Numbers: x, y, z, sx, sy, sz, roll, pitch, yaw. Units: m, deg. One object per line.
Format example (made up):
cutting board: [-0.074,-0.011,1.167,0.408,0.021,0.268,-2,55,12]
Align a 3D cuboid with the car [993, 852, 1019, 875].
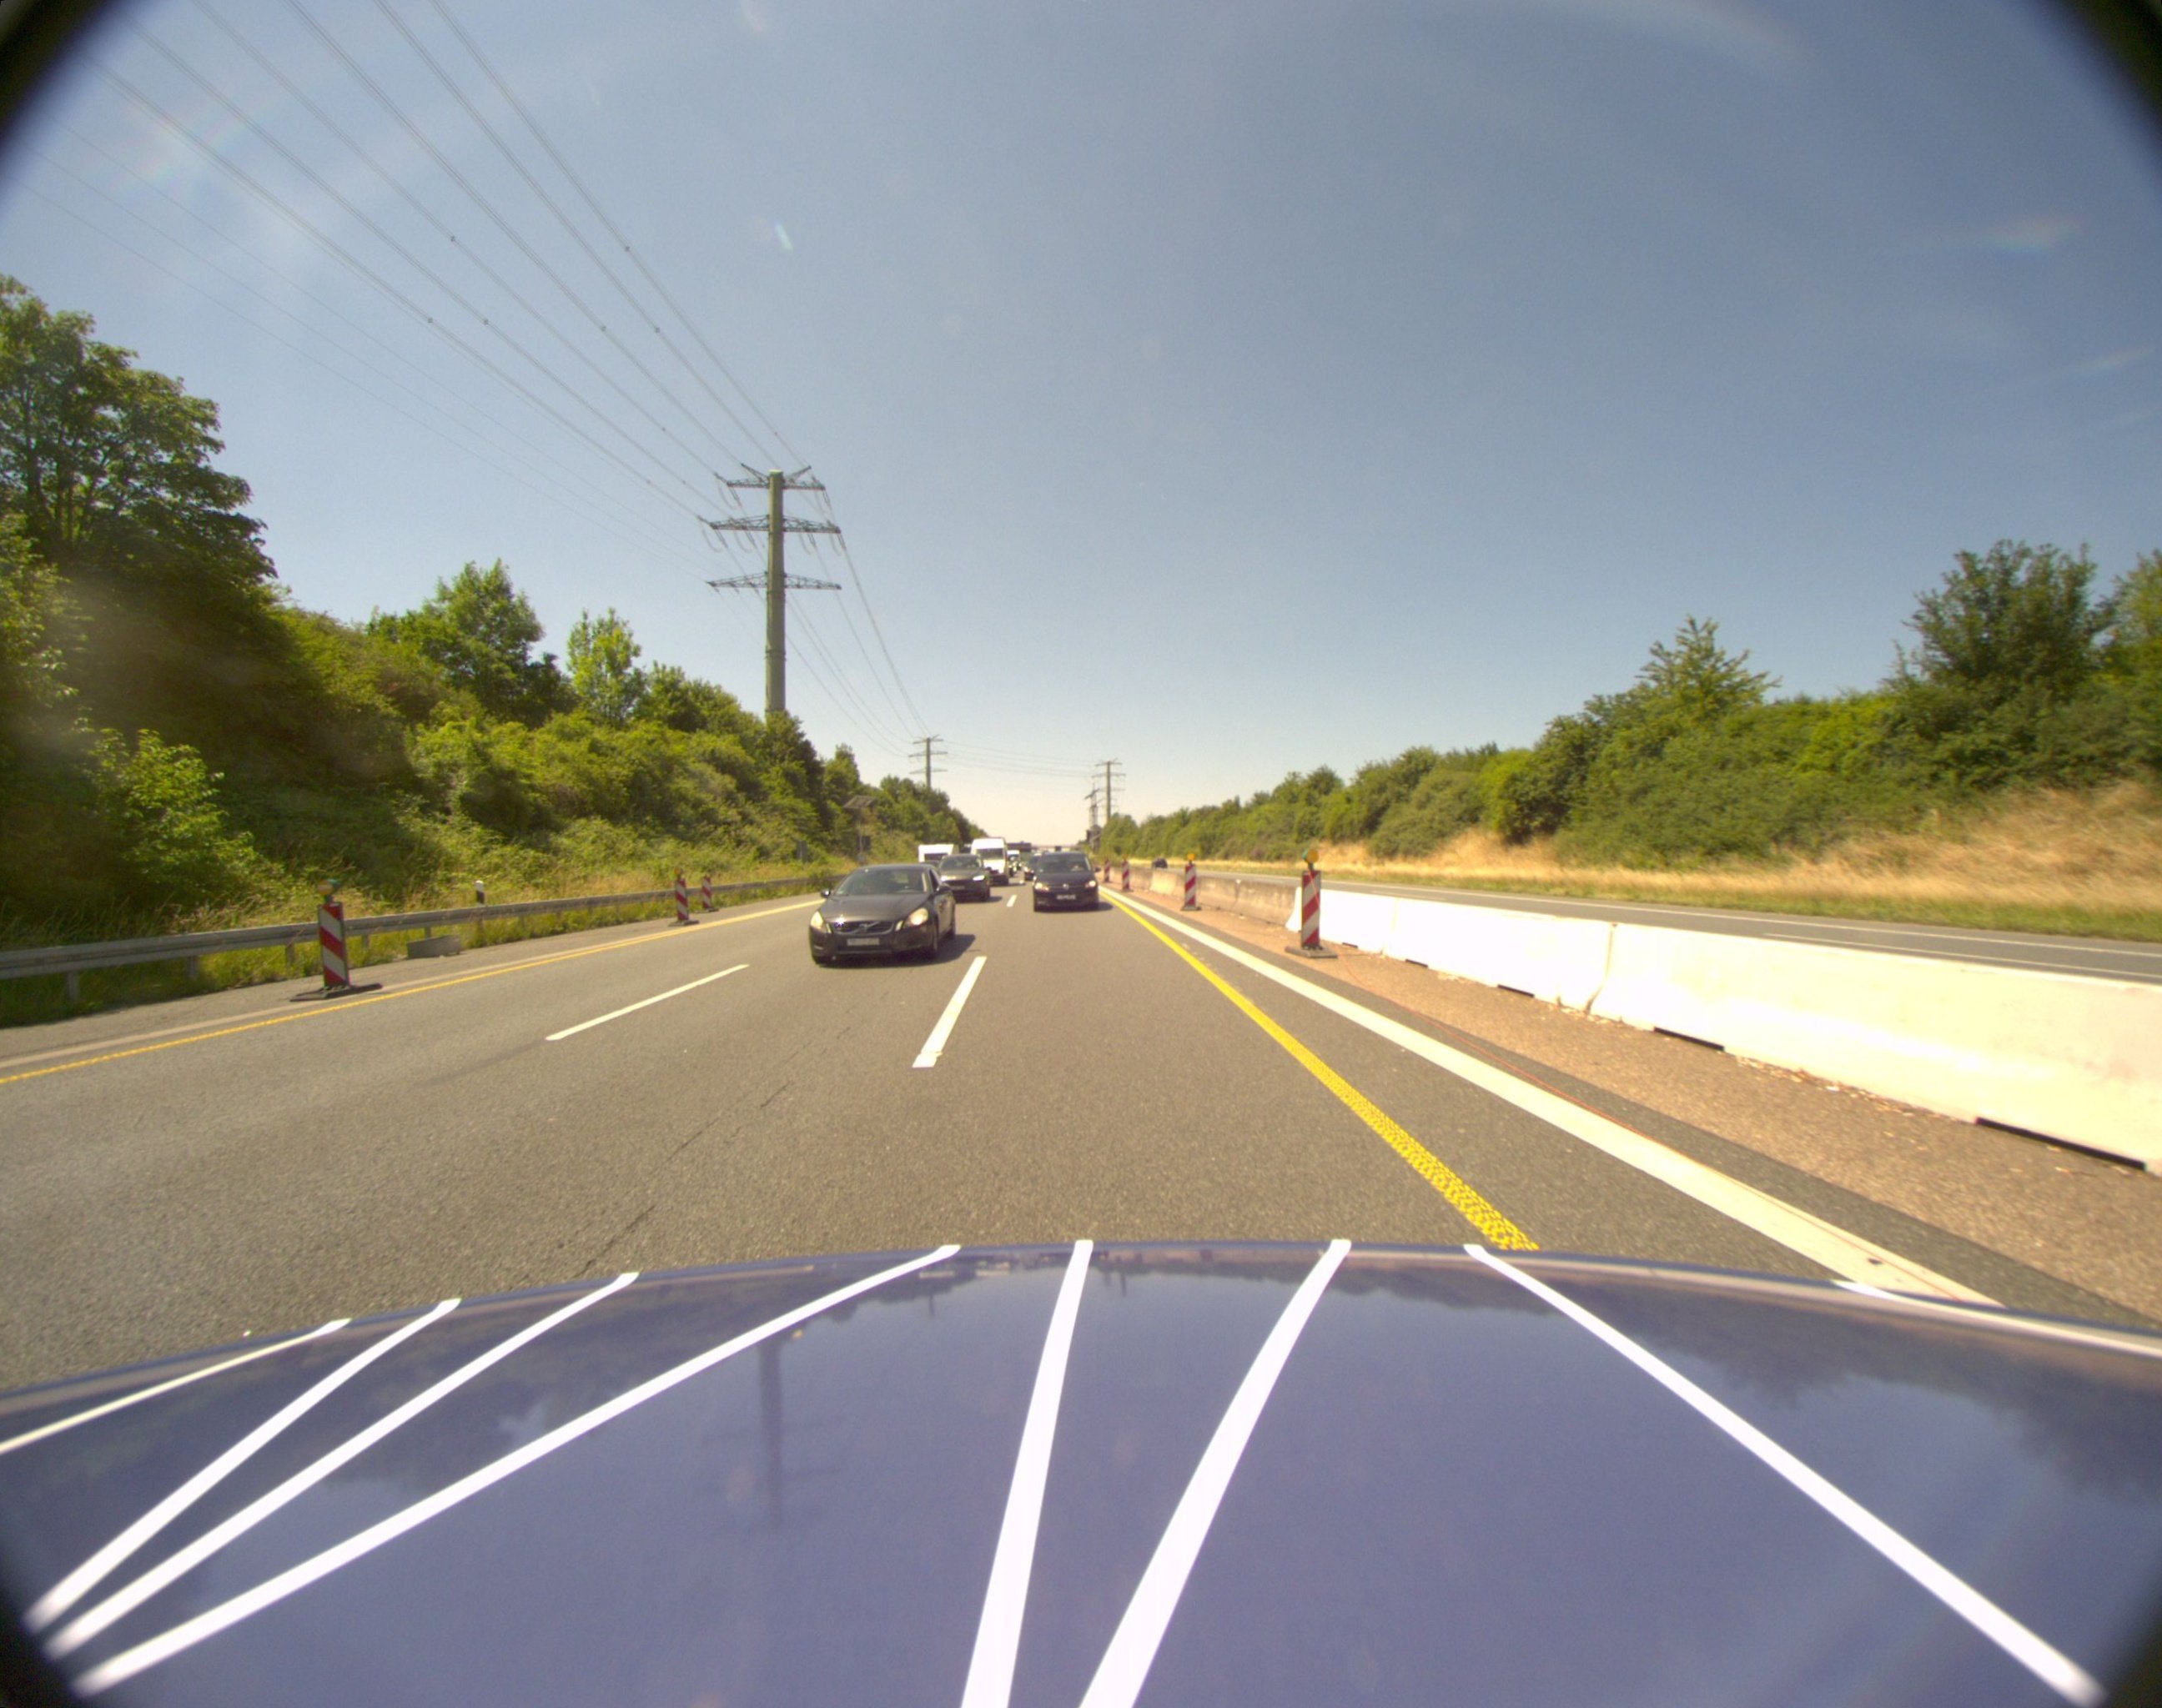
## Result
car: [-5.558,0.674,56.782,1.745,1.658,4.155,-2,0,-3]

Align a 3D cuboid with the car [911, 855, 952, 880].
car: [-9.237,0.808,47.263,1.801,1.399,4.208,1,0,-2]

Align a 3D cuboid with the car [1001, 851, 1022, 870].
car: [-6.311,0.572,69.302,1.745,1.658,4.155,-2,0,-3]

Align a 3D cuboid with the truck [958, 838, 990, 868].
truck: [-12.364,-0.135,88.339,2.431,3.122,7.646,-4,0,0]

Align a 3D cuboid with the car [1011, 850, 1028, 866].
car: [-6.771,0.449,84.086,1.745,1.658,4.155,-2,0,-3]

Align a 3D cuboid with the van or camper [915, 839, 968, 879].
van or camper: [-9.690,0.292,53.595,2.432,2.549,8.415,-2,0,-2]

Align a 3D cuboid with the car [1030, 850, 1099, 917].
car: [-0.427,0.744,21.559,1.675,1.619,4.690,-3,0,0]

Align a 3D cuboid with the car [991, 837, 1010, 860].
car: [-14.548,-0.998,137.188,2.397,3.779,10.270,-2,1,-1]

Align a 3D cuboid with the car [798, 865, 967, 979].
car: [-3.043,0.971,12.502,1.799,1.433,3.999,-2,0,-2]

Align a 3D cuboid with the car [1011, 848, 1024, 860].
car: [-8.892,0.012,107.025,1.745,1.658,4.155,-2,0,-3]

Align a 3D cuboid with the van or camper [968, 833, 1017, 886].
van or camper: [-4.640,0.267,40.529,1.999,2.604,5.628,0,0,-1]

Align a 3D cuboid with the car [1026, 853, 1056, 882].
car: [-2.519,0.786,47.381,1.745,1.658,4.155,-2,0,-3]

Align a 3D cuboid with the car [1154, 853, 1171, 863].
car: [10.709,0.522,100.260,1.771,1.346,3.513,0,0,-1]

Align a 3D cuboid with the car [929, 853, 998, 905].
car: [-4.037,0.806,26.696,1.745,1.658,4.156,-2,0,0]
